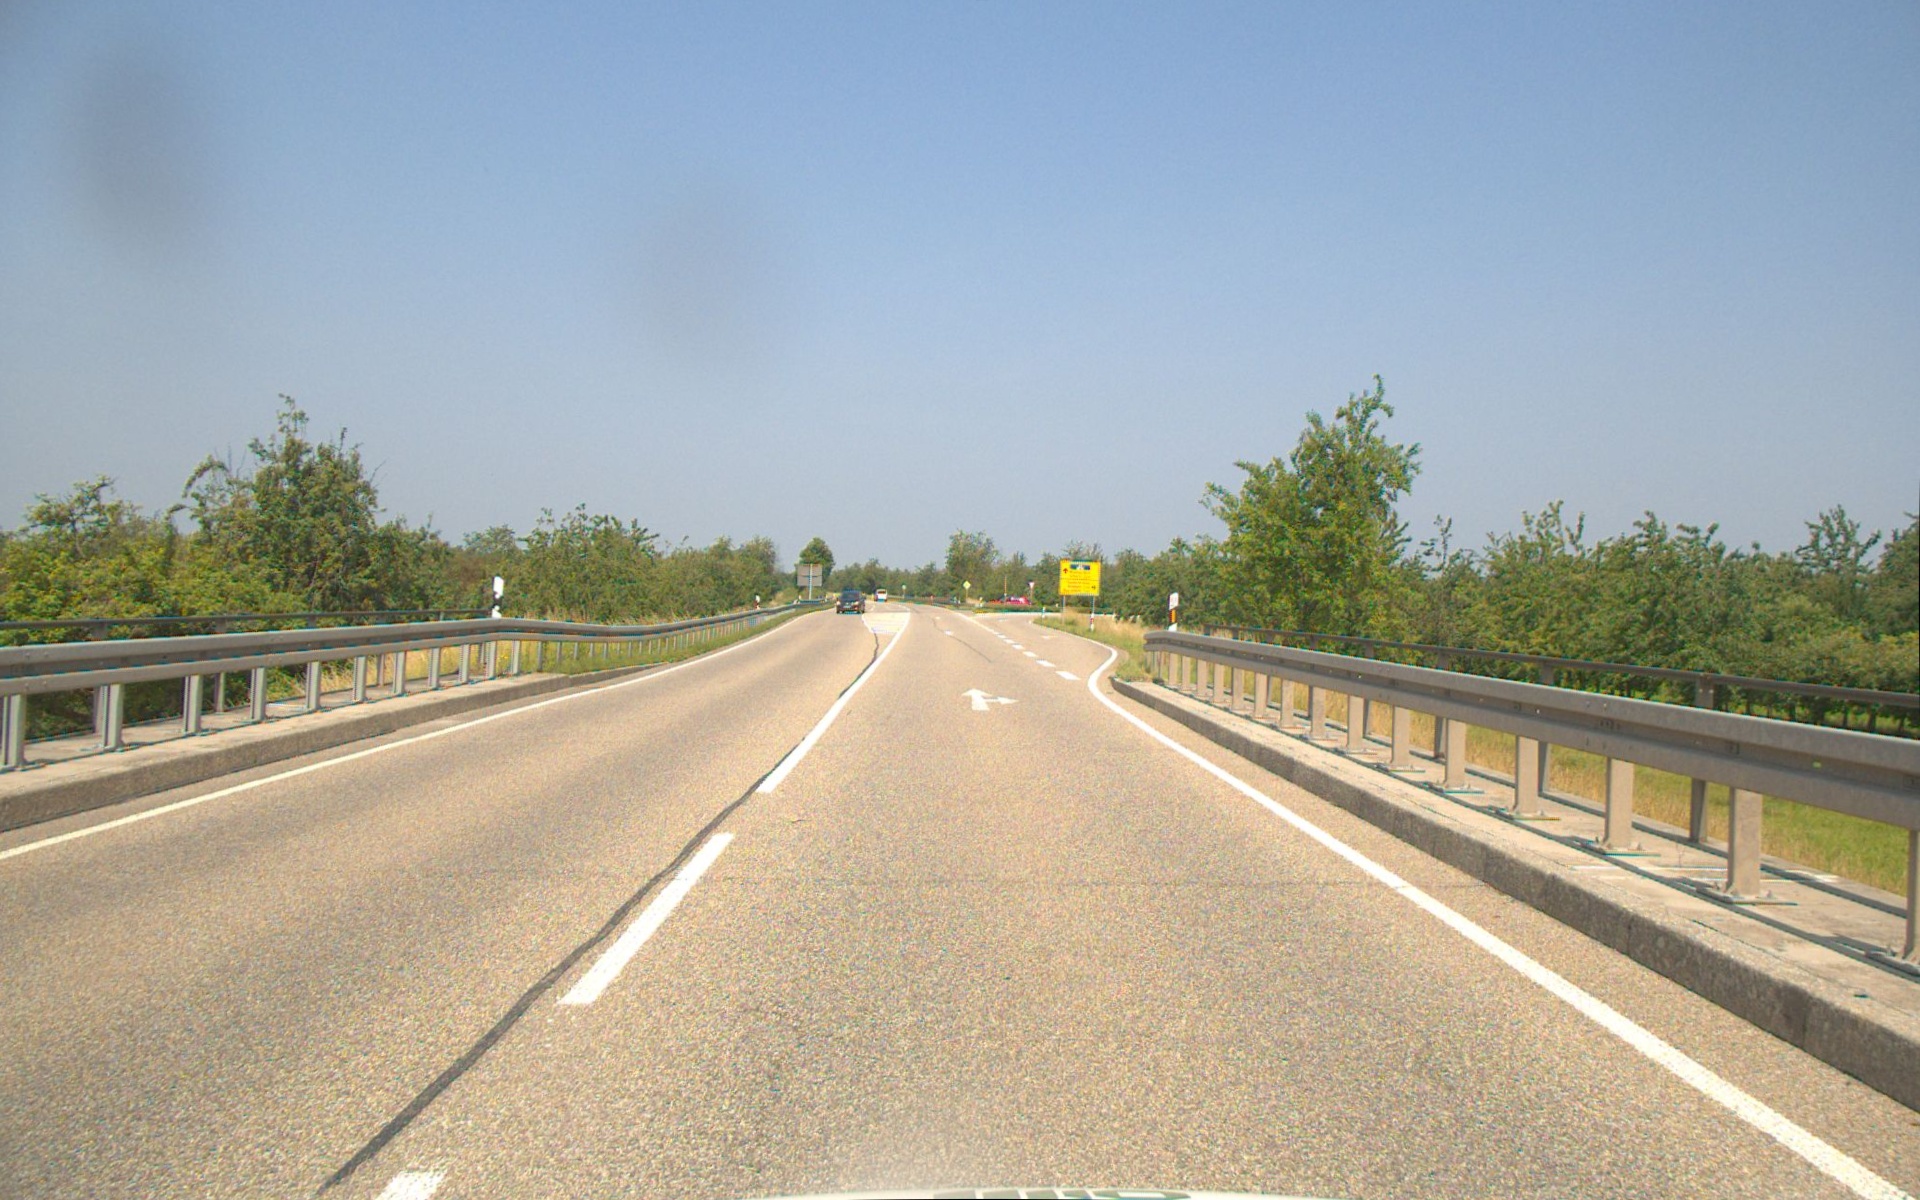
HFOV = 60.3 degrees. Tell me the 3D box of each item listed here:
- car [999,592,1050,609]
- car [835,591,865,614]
[{"bbox_3d":[5.592,0.059,143.493,4.387,1.474,1.822,1,0,2],"label":"car"},{"bbox_3d":[-8.093,0.173,121.966,1.766,1.666,4.809,1,0,0],"label":"car"}]
